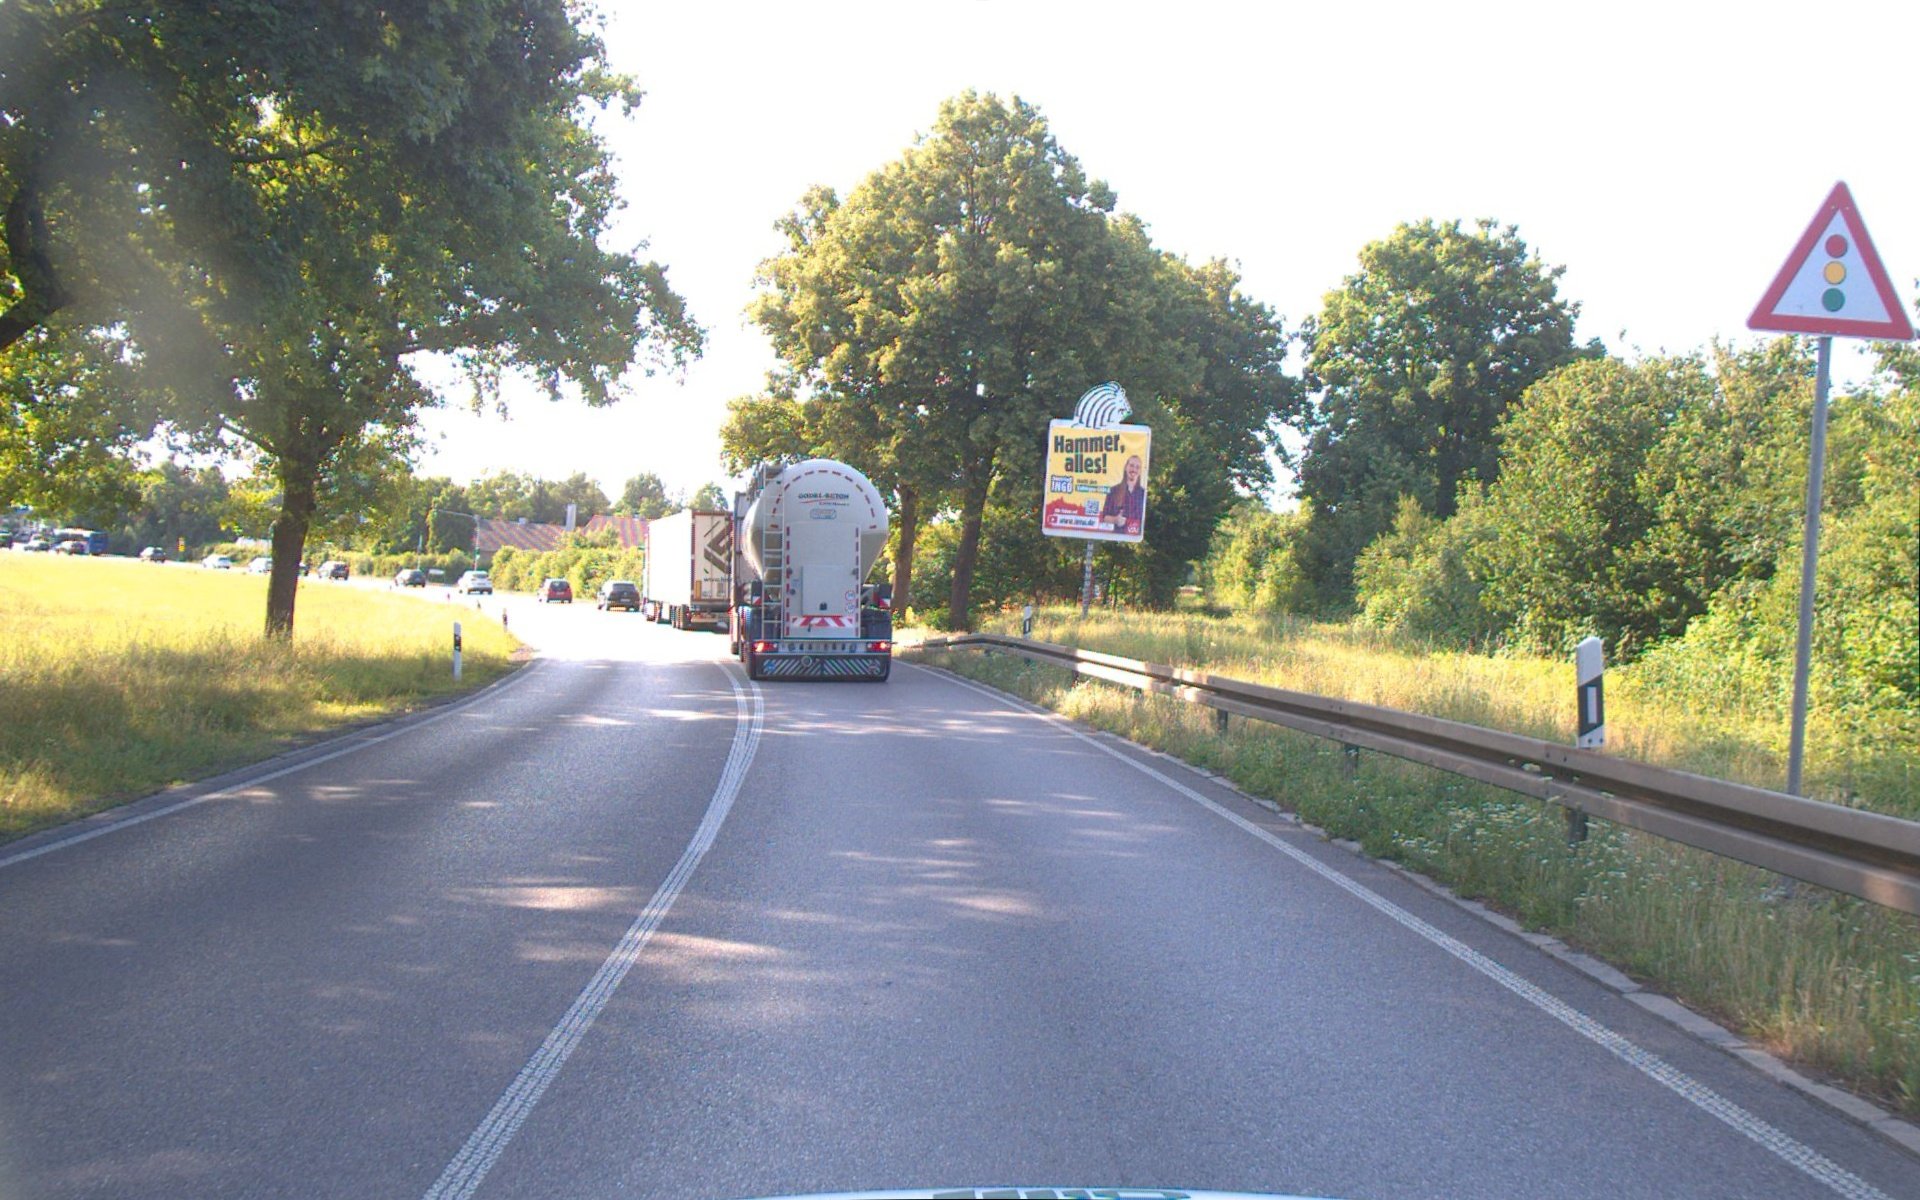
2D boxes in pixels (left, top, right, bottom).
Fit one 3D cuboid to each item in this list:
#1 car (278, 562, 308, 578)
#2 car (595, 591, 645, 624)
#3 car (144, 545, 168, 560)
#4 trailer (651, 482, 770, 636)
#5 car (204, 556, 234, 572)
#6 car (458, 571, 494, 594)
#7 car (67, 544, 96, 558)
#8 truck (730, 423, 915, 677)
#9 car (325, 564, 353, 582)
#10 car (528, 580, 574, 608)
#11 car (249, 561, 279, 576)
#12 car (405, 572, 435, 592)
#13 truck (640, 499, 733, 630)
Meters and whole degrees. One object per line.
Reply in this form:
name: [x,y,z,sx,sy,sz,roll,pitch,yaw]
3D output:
car: [-68.172,-3.077,168.986,1.670,1.586,3.812,2,0,-42]
car: [-18.061,0.405,87.851,1.965,1.685,3.974,1,0,-21]
car: [-97.188,-5.691,199.911,1.717,1.685,3.814,2,0,-41]
trailer: [-9.141,-1.341,59.465,2.916,4.967,10.244,1,0,-16]
car: [-83.167,-4.039,185.678,1.966,1.685,3.812,2,0,-42]
car: [-36.407,-1.328,124.289,1.820,1.685,3.963,1,0,-28]
car: [-112.767,-6.312,212.304,3.931,1.627,2.079,3,1,43]
truck: [-3.117,-0.827,33.841,2.920,4.248,11.638,1,0,-9]
car: [-60.327,-2.636,160.707,1.508,1.685,3.820,1,0,-38]
car: [-25.742,-0.357,103.963,2.267,1.685,4.387,1,0,-21]
car: [-74.265,-3.367,176.467,1.670,1.586,3.812,2,0,-42]
car: [-45.819,-1.526,140.341,1.505,1.685,3.830,1,0,-32]
truck: [-11.083,-1.347,66.569,2.914,4.972,6.403,1,0,-16]
